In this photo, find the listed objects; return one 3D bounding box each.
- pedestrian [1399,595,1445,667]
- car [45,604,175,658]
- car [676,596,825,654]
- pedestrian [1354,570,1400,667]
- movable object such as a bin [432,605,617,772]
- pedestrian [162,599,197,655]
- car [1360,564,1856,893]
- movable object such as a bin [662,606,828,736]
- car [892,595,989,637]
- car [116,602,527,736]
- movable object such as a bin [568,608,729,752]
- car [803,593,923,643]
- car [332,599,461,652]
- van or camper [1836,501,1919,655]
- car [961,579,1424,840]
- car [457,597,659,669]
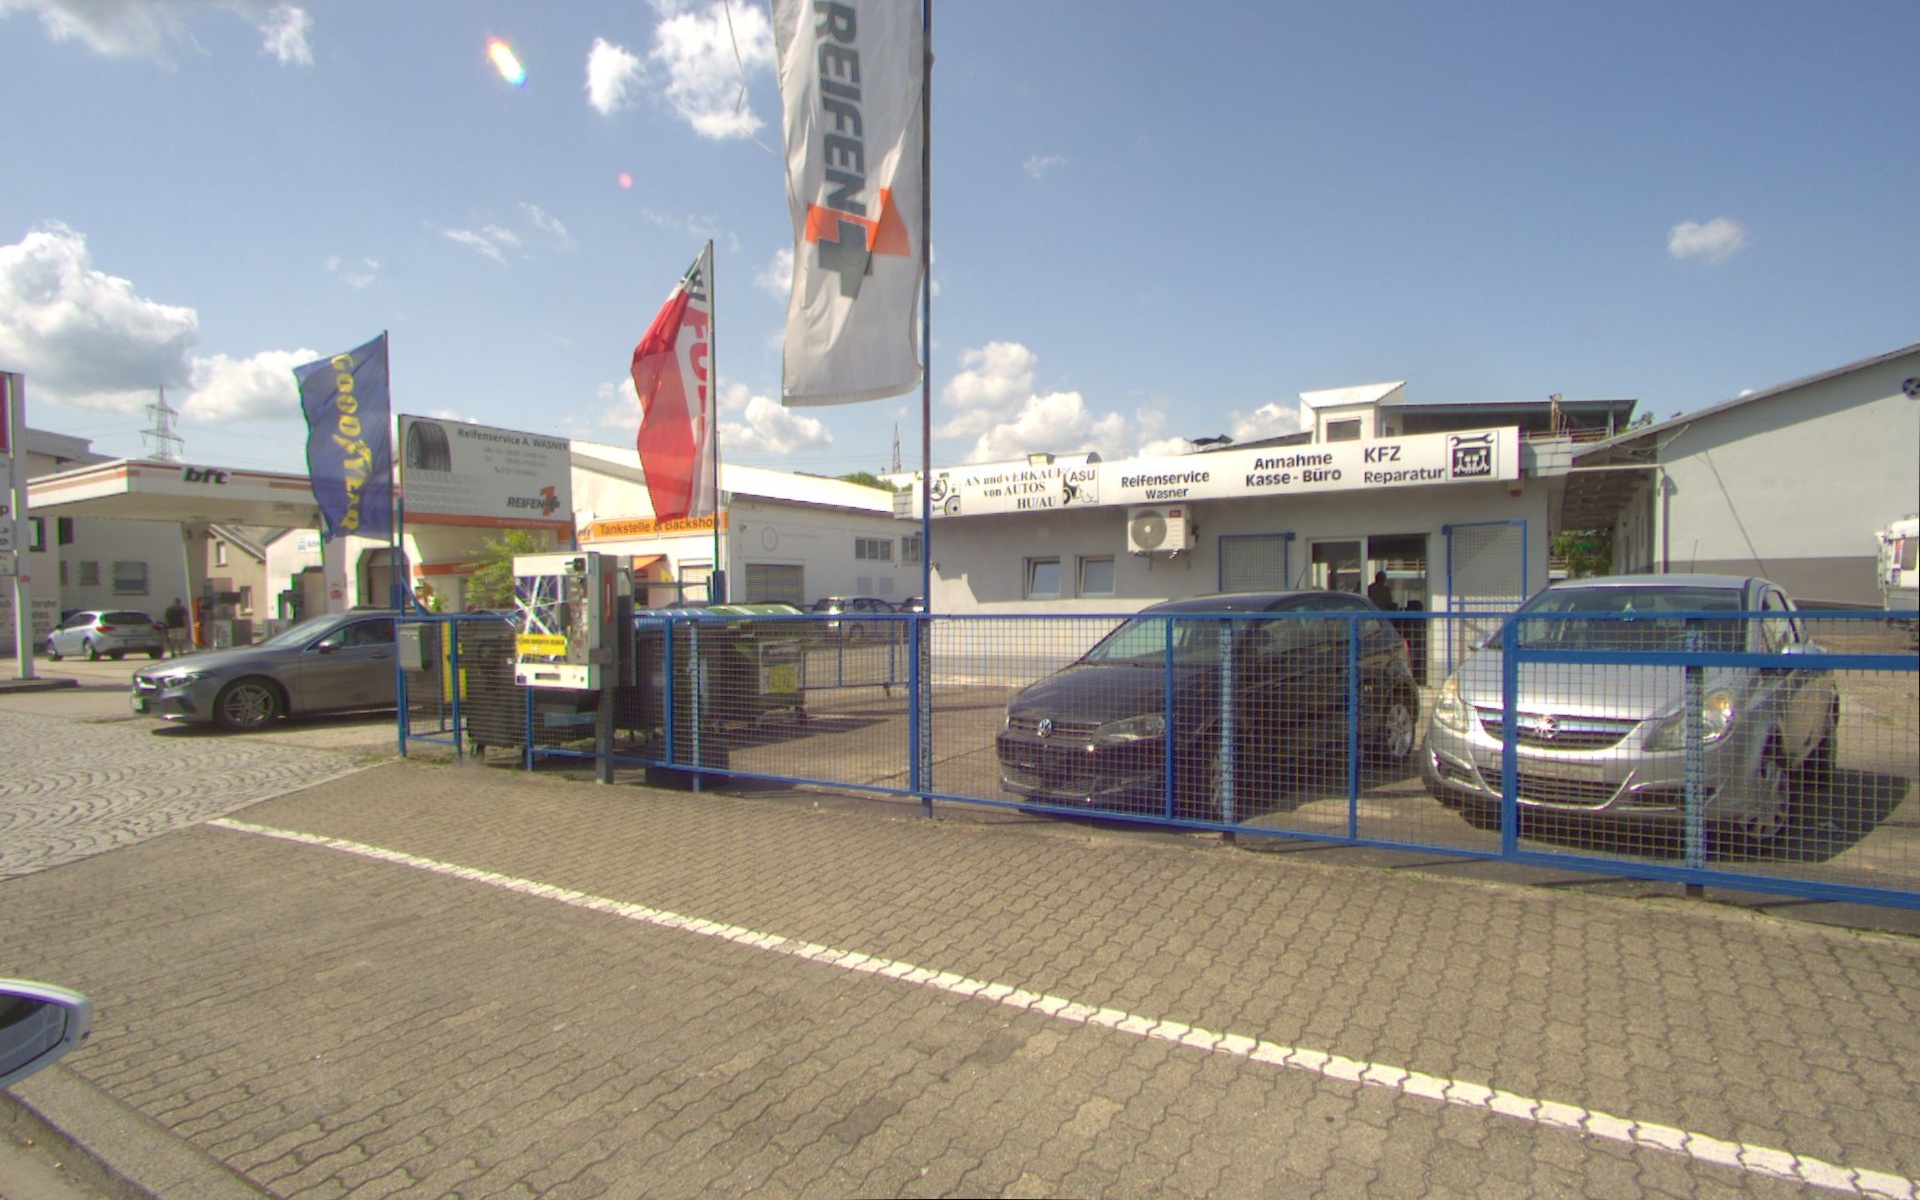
[{"bbox_3d":[8.045,0.536,17.434,0.654,1.225,0.563,0,1,34],"label":"pedestrian"},{"bbox_3d":[-25.737,0.904,30.304,3.776,1.523,1.803,-1,0,30],"label":"car"},{"bbox_3d":[-5.719,0.645,27.816,1.564,1.482,4.187,0,0,33],"label":"car"},{"bbox_3d":[7.351,0.322,17.641,0.654,1.671,0.563,0,1,34],"label":"pedestrian"},{"bbox_3d":[-4.161,0.789,9.604,1.225,1.455,1.106,0,1,31],"label":"movable object such as a bin"},{"bbox_3d":[-23.777,0.804,30.514,0.698,1.679,0.546,-1,1,-22],"label":"pedestrian"},{"bbox_3d":[4.270,0.564,6.376,3.729,1.472,1.757,-1,0,-42],"label":"car"},{"bbox_3d":[-2.535,0.786,11.899,1.318,1.414,1.400,0,1,31],"label":"movable object such as a bin"},{"bbox_3d":[-0.640,0.536,35.732,1.564,1.385,3.860,0,0,33],"label":"car"},{"bbox_3d":[-8.163,0.770,13.156,1.654,1.434,4.253,0,0,40],"label":"car"},{"bbox_3d":[-3.329,0.806,10.734,1.225,1.415,1.106,0,1,31],"label":"movable object such as a bin"},{"bbox_3d":[-3.016,0.530,32.047,1.564,1.482,4.187,0,0,33],"label":"car"},{"bbox_3d":[-17.310,0.751,30.721,3.777,1.523,1.803,-1,0,31],"label":"car"},{"bbox_3d":[21.013,-0.451,19.524,5.571,3.005,2.264,0,1,31],"label":"van or camper"},{"bbox_3d":[1.889,0.605,7.487,3.655,1.472,1.625,-1,0,-43],"label":"car"},{"bbox_3d":[-9.166,0.692,23.160,1.564,1.482,4.187,0,0,33],"label":"car"}]
